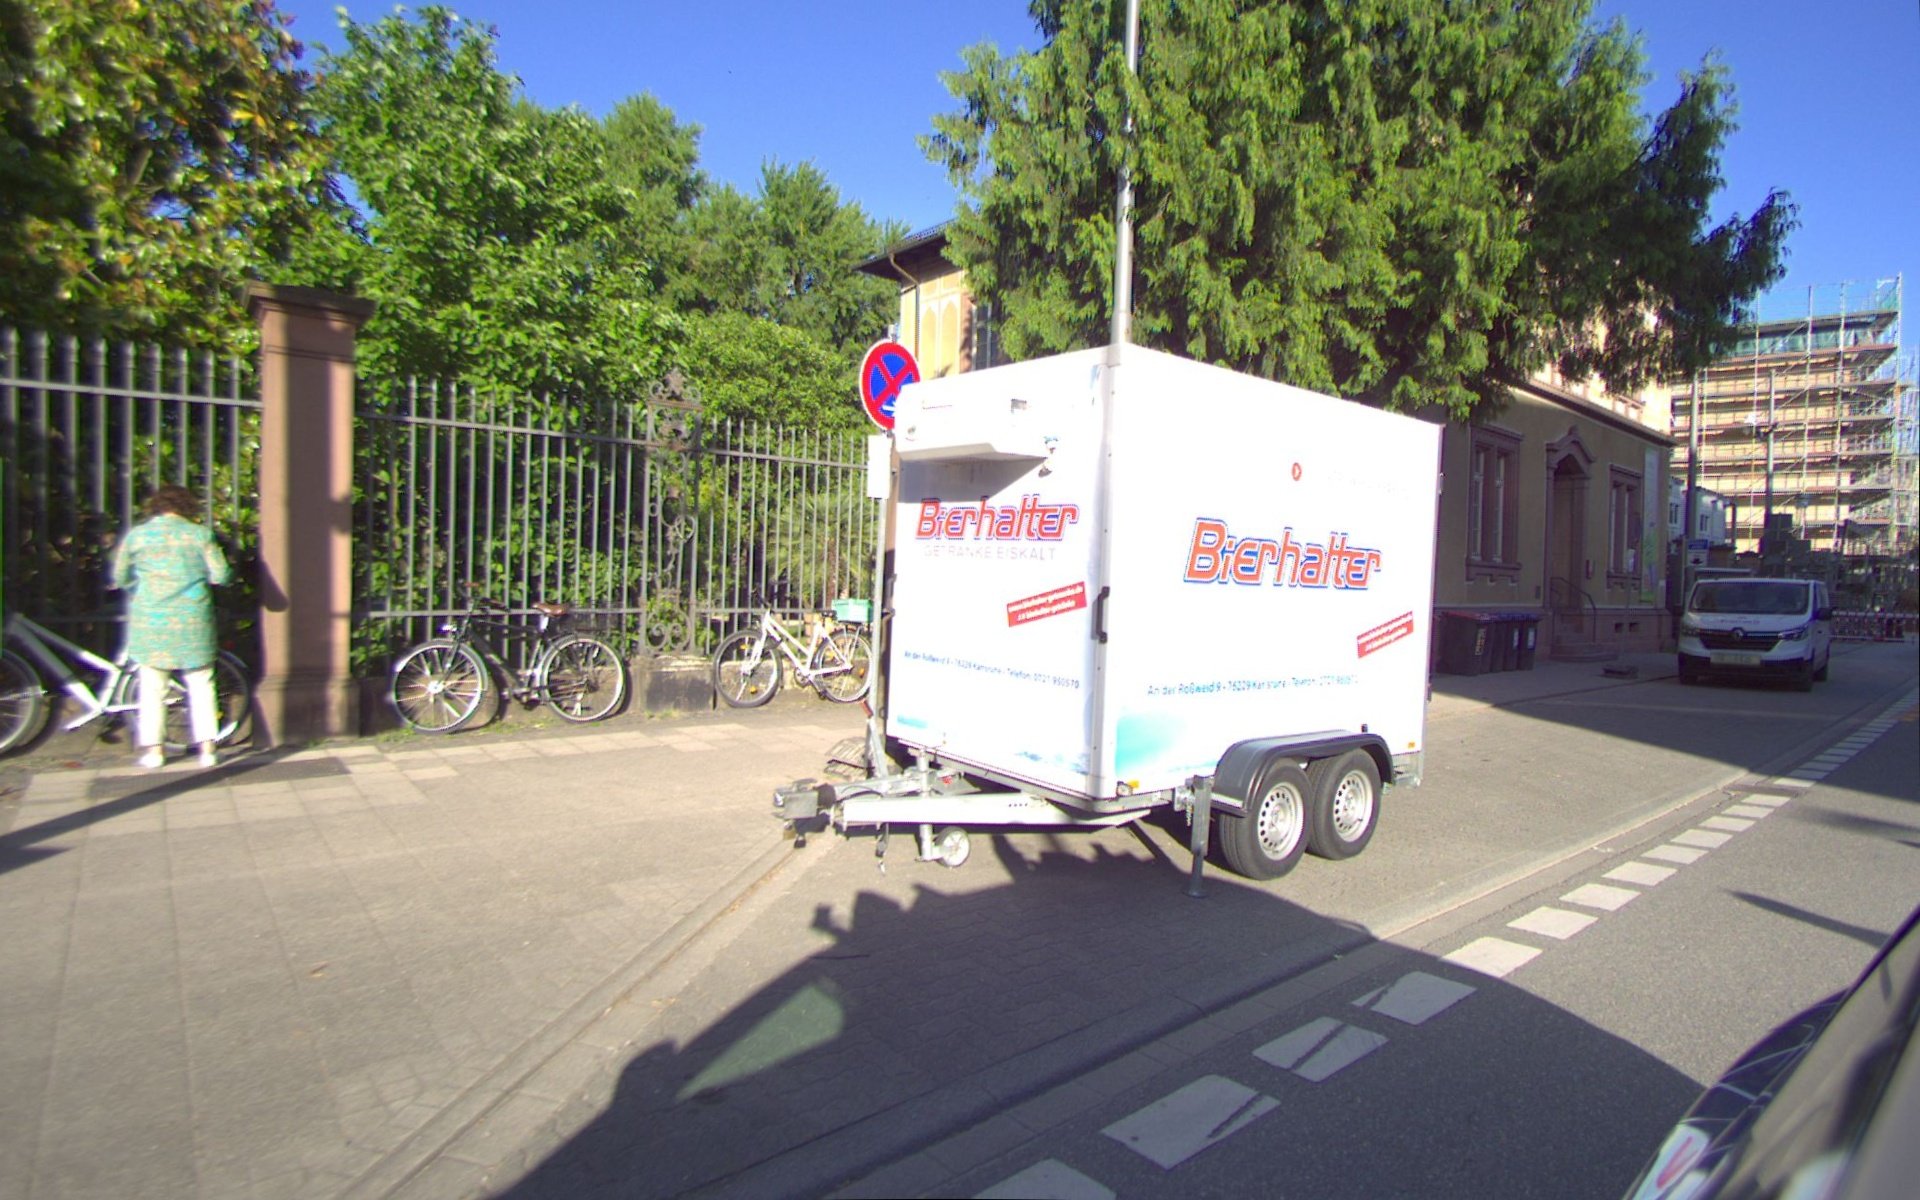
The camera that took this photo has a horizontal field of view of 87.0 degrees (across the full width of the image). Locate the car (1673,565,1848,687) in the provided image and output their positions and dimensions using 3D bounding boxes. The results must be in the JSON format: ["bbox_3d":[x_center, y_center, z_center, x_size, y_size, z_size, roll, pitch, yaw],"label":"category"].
[{"bbox_3d":[15.047,0.377,18.882,2.015,1.970,5.394,1,1,44],"label":"car"}]

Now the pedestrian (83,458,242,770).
[{"bbox_3d":[-4.916,0.071,6.272,0.724,1.790,0.641,1,1,-37],"label":"pedestrian"}]

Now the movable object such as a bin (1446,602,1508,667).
[{"bbox_3d":[9.189,0.599,17.995,0.561,1.086,0.795,0,2,-39],"label":"movable object such as a bin"}]

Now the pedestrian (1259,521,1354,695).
[{"bbox_3d":[4.033,0.073,11.774,0.714,1.918,0.877,3,2,38],"label":"pedestrian"}]

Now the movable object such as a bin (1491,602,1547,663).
[{"bbox_3d":[10.628,0.606,19.242,0.552,1.086,0.732,0,2,-39],"label":"movable object such as a bin"}]

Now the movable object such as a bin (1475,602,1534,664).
[{"bbox_3d":[10.148,0.608,18.867,0.525,1.086,0.795,0,2,-39],"label":"movable object such as a bin"}]

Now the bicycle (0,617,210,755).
[{"bbox_3d":[-5.598,0.521,6.340,1.425,0.803,0.264,0,2,-40],"label":"bicycle"}]

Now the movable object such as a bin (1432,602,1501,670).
[{"bbox_3d":[8.742,0.600,17.477,0.561,1.086,0.871,0,2,-39],"label":"movable object such as a bin"}]

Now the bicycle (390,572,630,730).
[{"bbox_3d":[-3.480,0.367,7.906,1.649,1.119,0.400,1,3,-36],"label":"bicycle"}]

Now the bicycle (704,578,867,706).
[{"bbox_3d":[-1.610,0.371,9.488,1.503,1.119,0.275,1,3,-36],"label":"bicycle"}]

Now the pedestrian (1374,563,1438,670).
[{"bbox_3d":[7.404,0.269,16.811,0.627,1.739,0.703,2,0,-15],"label":"pedestrian"}]

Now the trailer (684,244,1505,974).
[{"bbox_3d":[0.985,-0.014,5.757,4.411,2.559,2.085,0,3,-39],"label":"trailer"}]

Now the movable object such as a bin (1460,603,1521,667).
[{"bbox_3d":[9.646,0.619,18.417,0.561,1.086,0.795,0,2,-39],"label":"movable object such as a bin"}]
